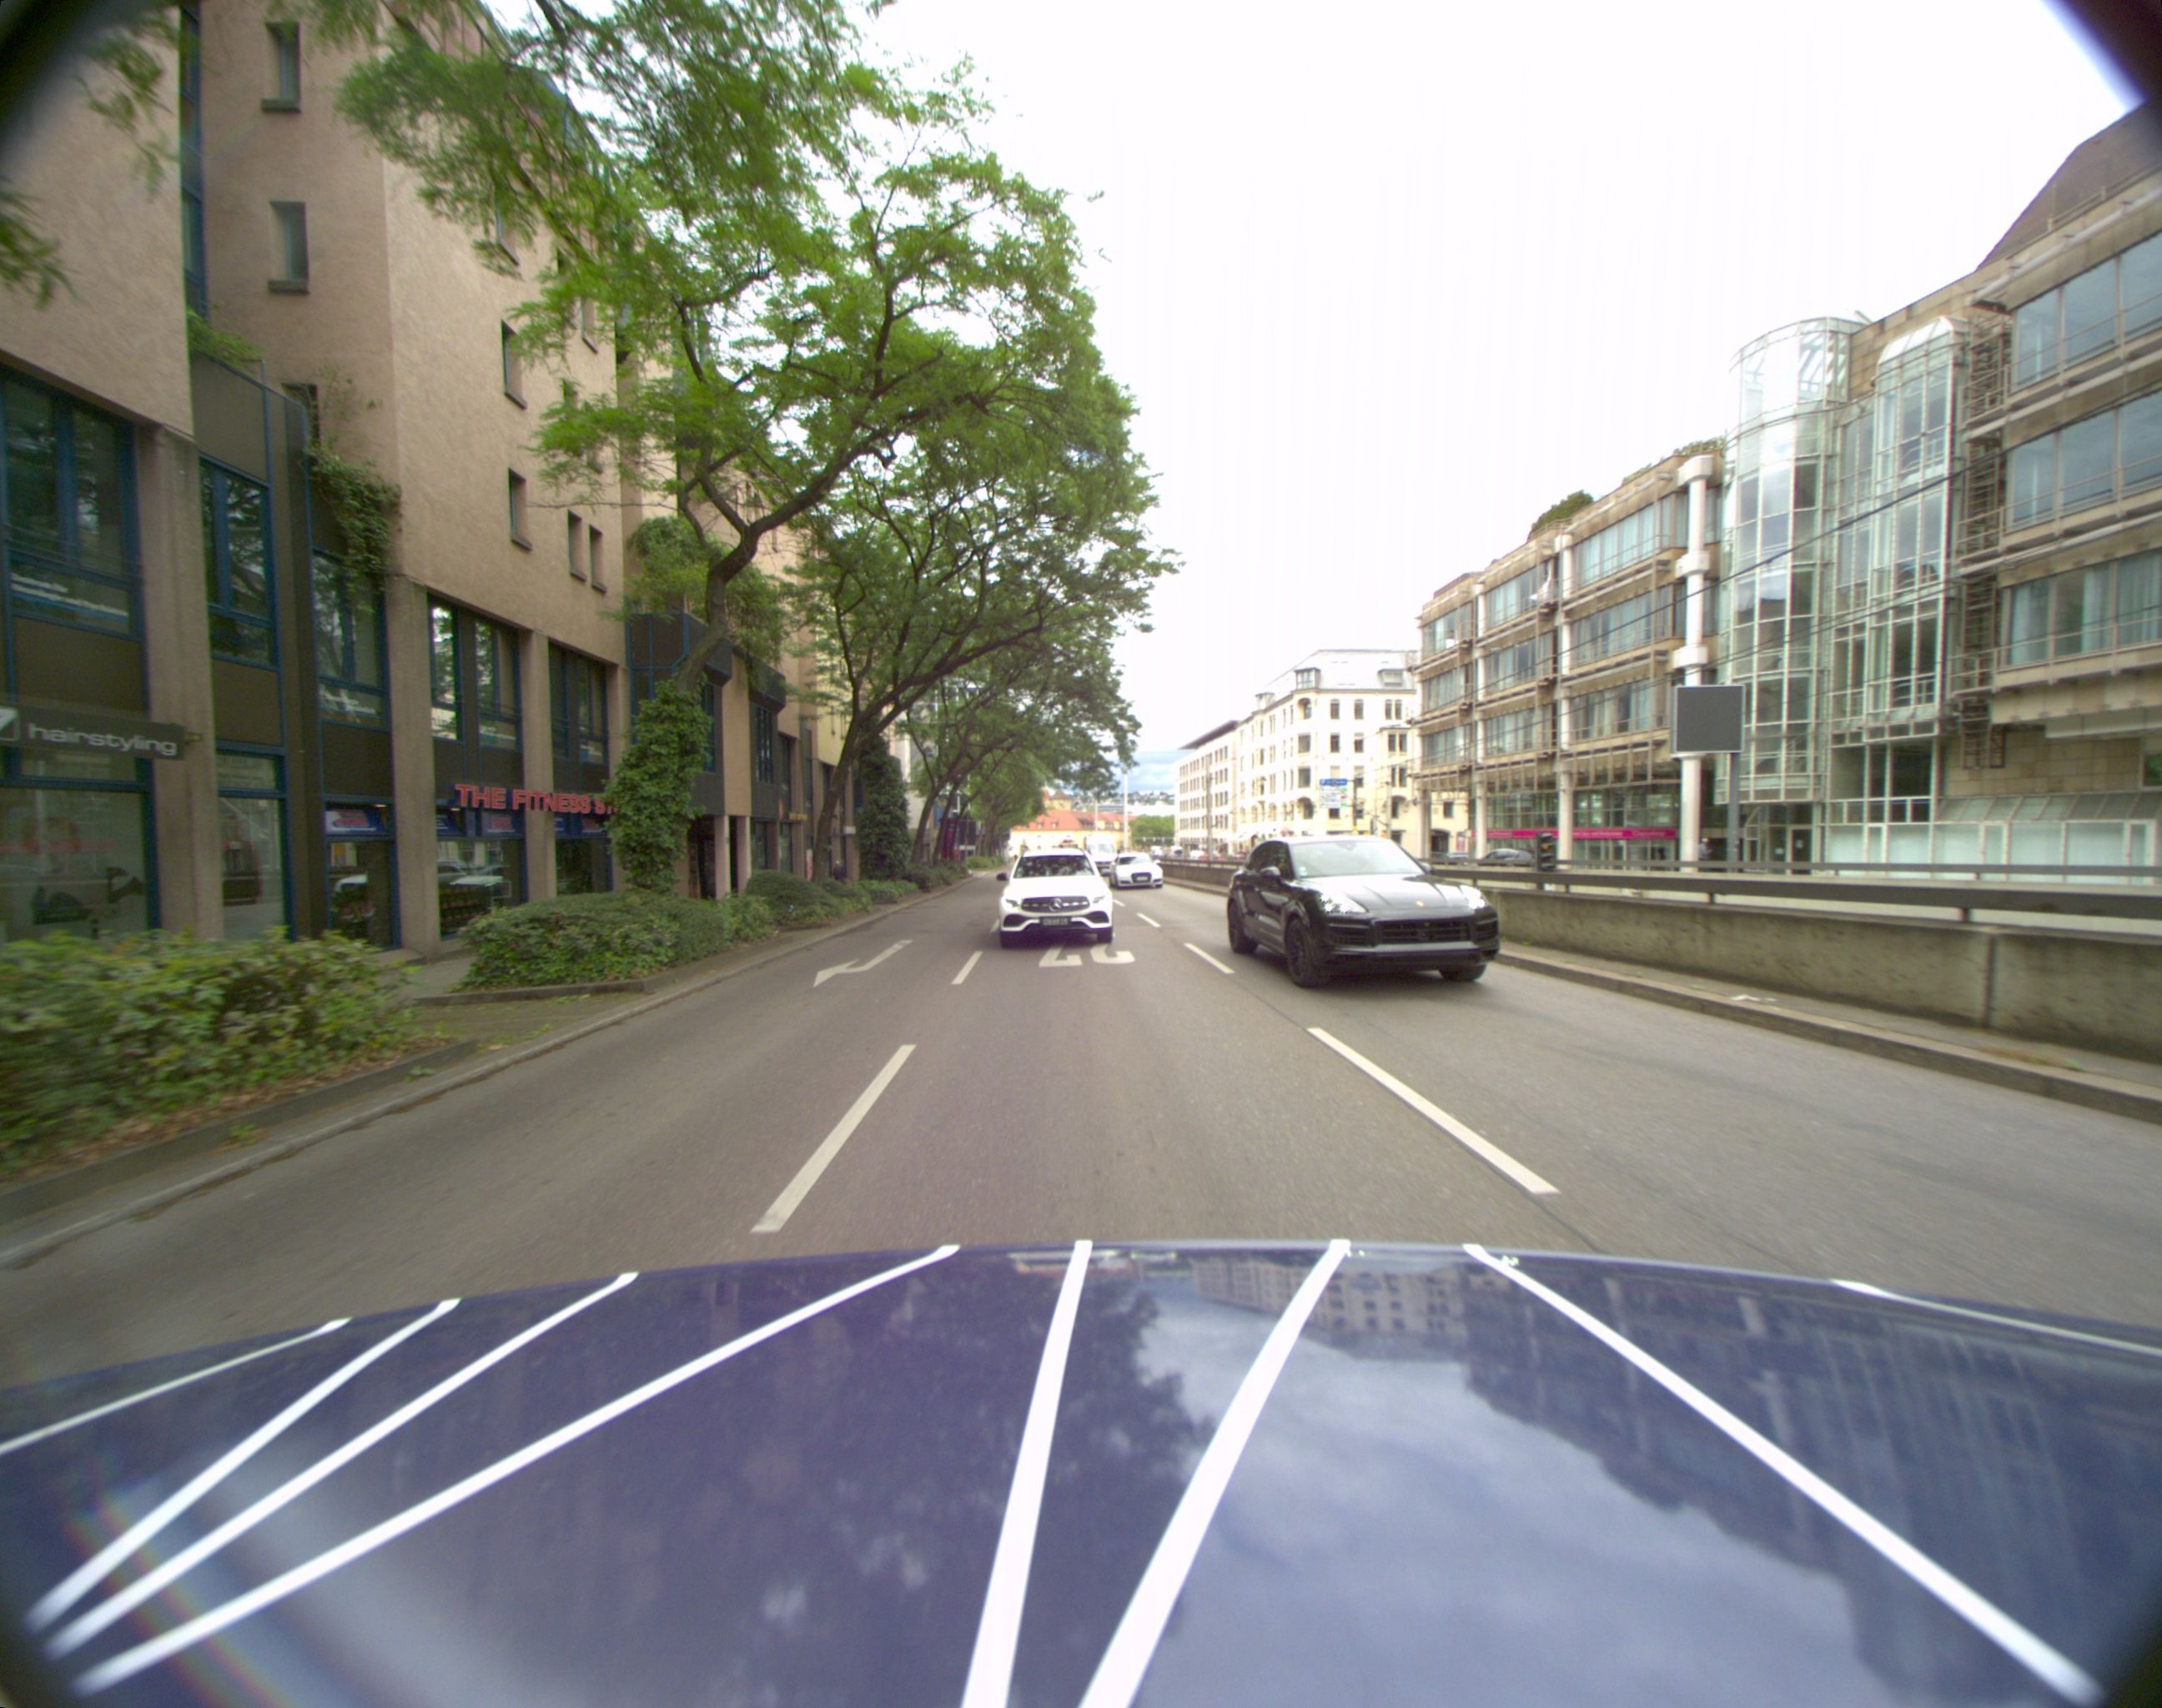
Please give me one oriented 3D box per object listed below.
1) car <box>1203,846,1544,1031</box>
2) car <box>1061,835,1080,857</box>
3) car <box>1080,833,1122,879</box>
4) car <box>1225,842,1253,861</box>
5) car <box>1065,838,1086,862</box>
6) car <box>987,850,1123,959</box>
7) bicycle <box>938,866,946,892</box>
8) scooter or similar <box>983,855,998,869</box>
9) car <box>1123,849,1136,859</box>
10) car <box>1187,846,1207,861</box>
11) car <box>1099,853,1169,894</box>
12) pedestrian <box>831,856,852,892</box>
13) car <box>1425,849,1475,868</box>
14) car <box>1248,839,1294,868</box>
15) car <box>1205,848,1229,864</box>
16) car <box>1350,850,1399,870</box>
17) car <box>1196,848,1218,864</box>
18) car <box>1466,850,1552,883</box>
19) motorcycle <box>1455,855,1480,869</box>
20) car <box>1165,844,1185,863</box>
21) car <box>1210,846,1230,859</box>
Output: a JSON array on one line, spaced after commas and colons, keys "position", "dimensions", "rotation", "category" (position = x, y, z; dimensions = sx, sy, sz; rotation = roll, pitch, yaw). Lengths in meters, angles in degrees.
[{"position": [3.171, 0.771, 9.750], "dimensions": [2.088, 1.665, 5.350], "rotation": [-1, 0, -3], "category": "car"}, {"position": [-1.462, -1.133, 104.787], "dimensions": [2.503, 2.793, 5.726], "rotation": [-2, 1, -1], "category": "car"}, {"position": [1.322, 0.095, 48.097], "dimensions": [2.294, 2.723, 4.754], "rotation": [-2, 1, 5], "category": "car"}, {"position": [18.058, -0.321, 87.097], "dimensions": [1.999, 2.002, 4.788], "rotation": [-2, 1, -3], "category": "car"}, {"position": [-0.729, -0.519, 97.190], "dimensions": [2.503, 2.793, 5.726], "rotation": [-2, 1, -1], "category": "car"}, {"position": [-0.487, 0.773, 13.790], "dimensions": [2.060, 1.599, 3.925], "rotation": [-2, 1, -3], "category": "car"}, {"position": [-6.760, 1.207, 37.010], "dimensions": [0.362, 1.194, 1.569], "rotation": [-1, 1, -11], "category": "bicycle"}, {"position": [-10.044, 0.868, 84.434], "dimensions": [1.536, 1.426, 0.686], "rotation": [-3, 1, -33], "category": "scooter or similar"}, {"position": [10.354, 0.086, 162.490], "dimensions": [2.115, 2.002, 4.788], "rotation": [-2, 1, -3], "category": "car"}, {"position": [17.016, -0.116, 111.755], "dimensions": [1.999, 2.002, 4.788], "rotation": [-2, 1, -3], "category": "car"}, {"position": [2.158, 0.758, 31.903], "dimensions": [1.951, 1.521, 3.996], "rotation": [-2, 1, -10], "category": "car"}, {"position": [-11.432, 0.936, 36.275], "dimensions": [0.711, 1.701, 0.688], "rotation": [-1, 0, 4], "category": "pedestrian"}, {"position": [32.776, 0.415, 67.527], "dimensions": [3.599, 1.652, 1.649], "rotation": [-1, 1, -6], "category": "car"}, {"position": [13.458, -0.049, 54.192], "dimensions": [1.838, 1.831, 4.603], "rotation": [-5, 1, -2], "category": "car"}, {"position": [17.329, 0.236, 96.987], "dimensions": [1.999, 2.002, 4.788], "rotation": [-2, 1, -3], "category": "car"}, {"position": [25.884, 0.504, 67.072], "dimensions": [3.649, 1.652, 1.649], "rotation": [-1, 1, -5], "category": "car"}, {"position": [17.423, 0.250, 104.994], "dimensions": [1.999, 2.002, 4.788], "rotation": [-2, 1, -3], "category": "car"}, {"position": [20.613, 0.550, 36.825], "dimensions": [1.668, 1.492, 4.412], "rotation": [-1, 0, -1], "category": "car"}, {"position": [29.748, 0.592, 58.454], "dimensions": [0.645, 1.069, 1.670], "rotation": [-3, 1, -23], "category": "motorcycle"}, {"position": [15.944, -0.053, 128.547], "dimensions": [2.370, 3.043, 5.467], "rotation": [-2, 1, -3], "category": "car"}, {"position": [20.709, -0.233, 113.198], "dimensions": [1.999, 2.002, 3.999], "rotation": [-1, 0, -3], "category": "car"}]
